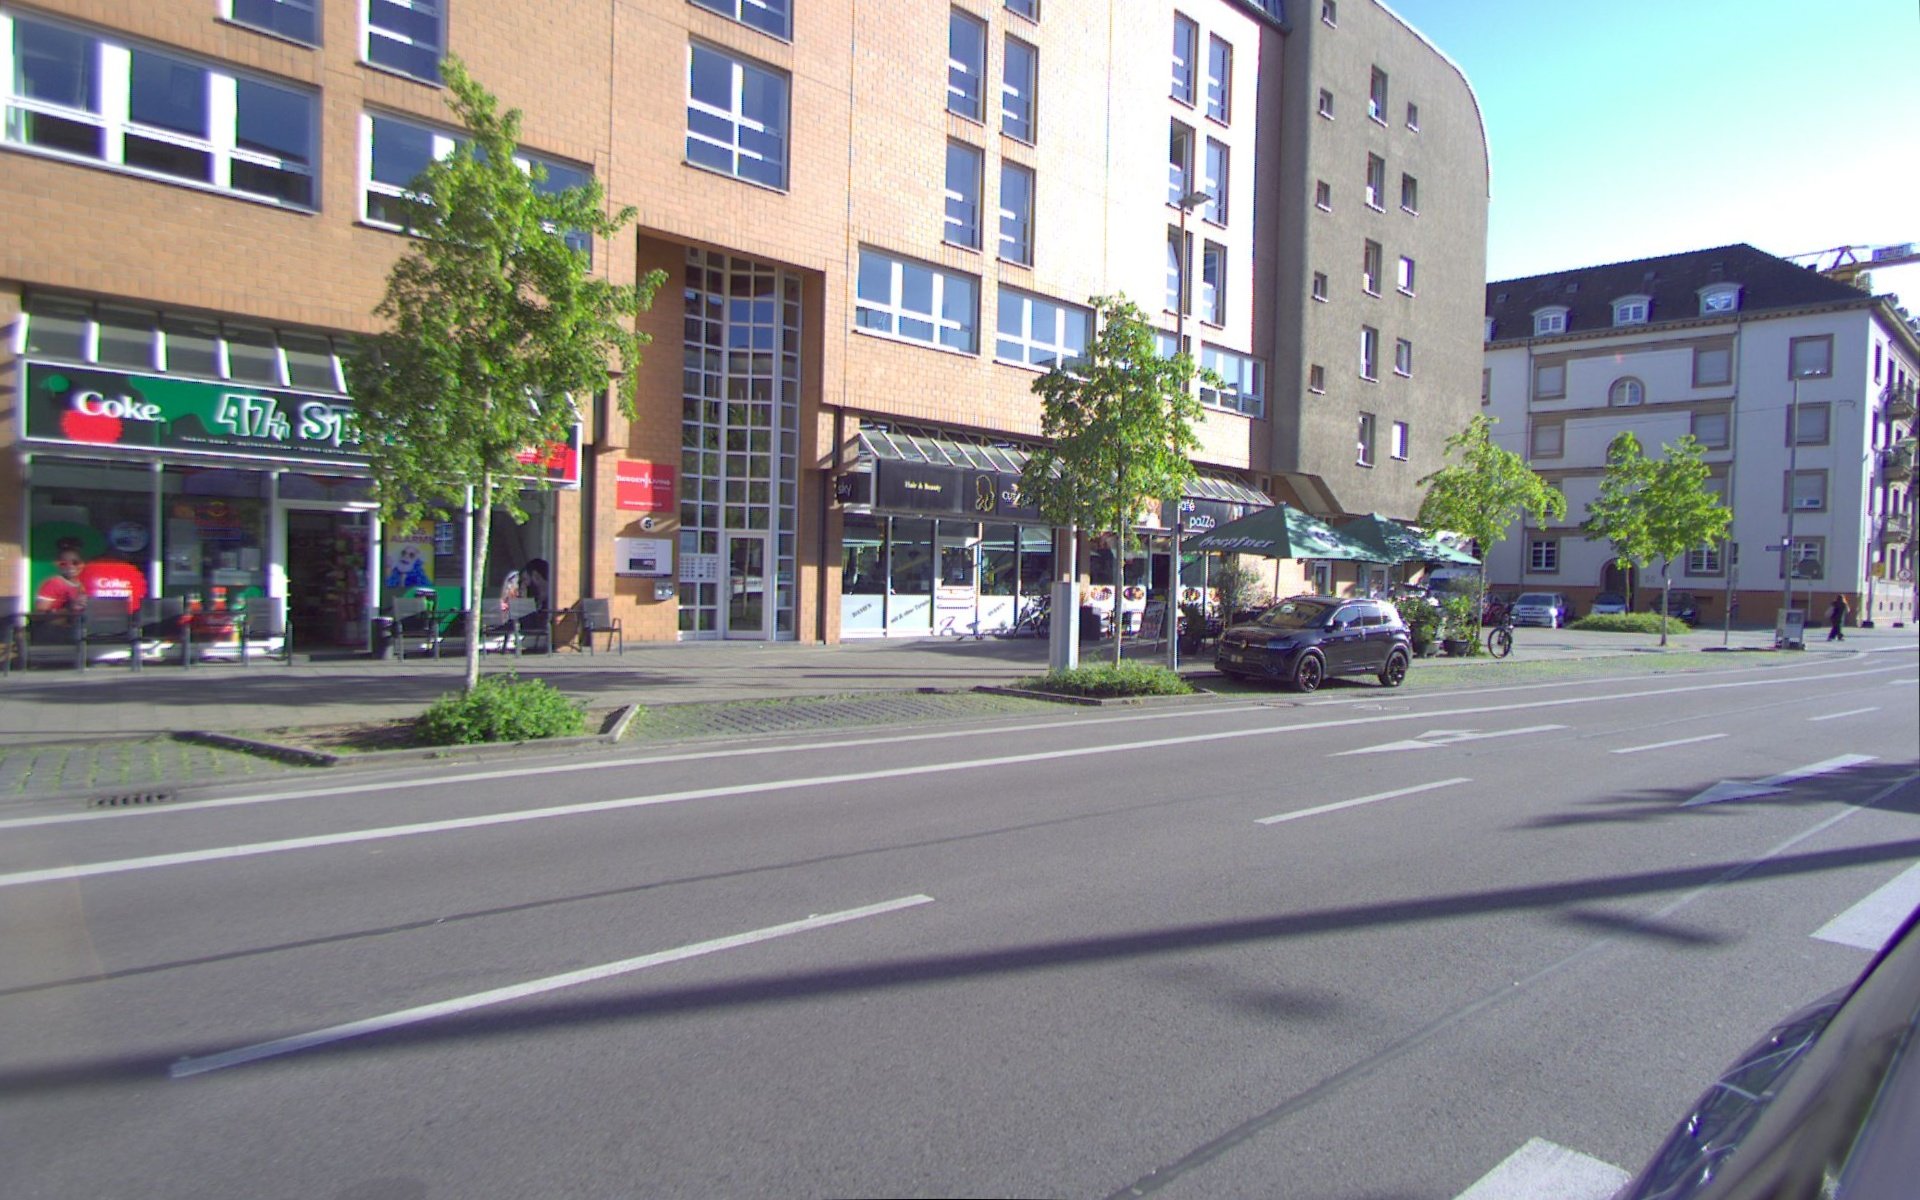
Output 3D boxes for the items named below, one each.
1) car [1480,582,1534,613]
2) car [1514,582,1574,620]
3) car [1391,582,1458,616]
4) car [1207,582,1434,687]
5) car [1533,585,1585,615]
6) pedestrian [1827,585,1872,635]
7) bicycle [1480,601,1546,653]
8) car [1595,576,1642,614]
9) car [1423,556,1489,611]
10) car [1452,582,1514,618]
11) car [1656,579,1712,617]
[{"bbox_3d":[28.981,-0.156,53.565,1.690,1.497,4.377,0,1,40],"label":"car"},{"bbox_3d":[24.167,0.028,41.848,1.658,1.493,3.784,0,0,38],"label":"car"},{"bbox_3d":[20.616,-0.049,44.880,1.631,1.473,3.676,0,0,43],"label":"car"},{"bbox_3d":[6.586,0.547,18.340,4.150,1.657,1.727,0,2,-34],"label":"car"},{"bbox_3d":[30.555,-0.027,51.593,1.689,1.447,4.379,0,1,38],"label":"car"},{"bbox_3d":[32.905,0.357,37.437,1.083,1.784,0.888,0,3,-31],"label":"pedestrian"},{"bbox_3d":[13.701,0.643,25.045,1.965,1.093,0.767,-2,8,-44],"label":"bicycle"},{"bbox_3d":[32.638,-0.287,50.121,1.620,1.707,4.381,1,3,37],"label":"car"},{"bbox_3d":[26.651,-0.961,54.251,1.919,2.640,5.883,2,4,38],"label":"car"},{"bbox_3d":[22.402,0.005,43.273,1.630,1.471,3.603,0,0,40],"label":"car"},{"bbox_3d":[34.489,-0.080,48.165,1.691,1.708,4.373,0,0,42],"label":"car"}]
